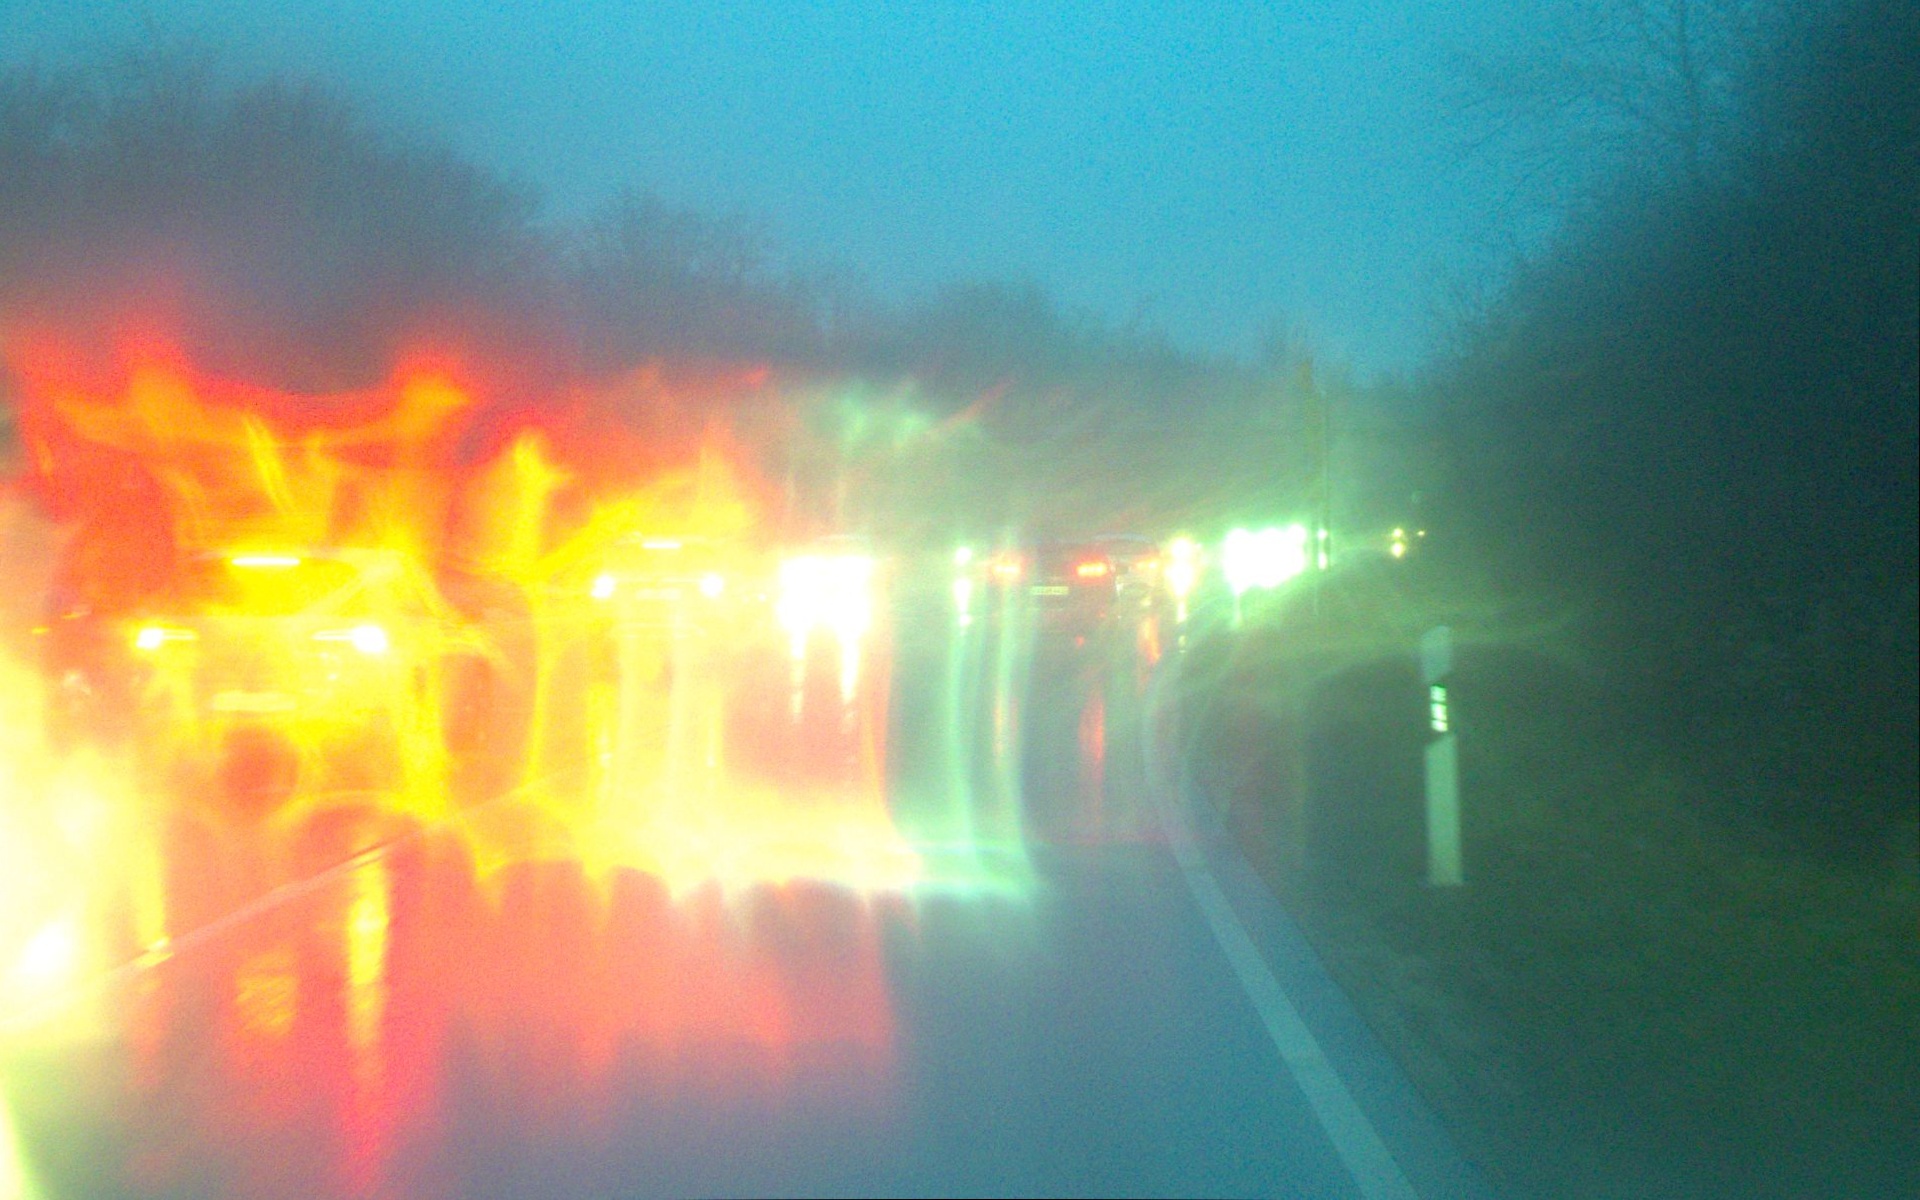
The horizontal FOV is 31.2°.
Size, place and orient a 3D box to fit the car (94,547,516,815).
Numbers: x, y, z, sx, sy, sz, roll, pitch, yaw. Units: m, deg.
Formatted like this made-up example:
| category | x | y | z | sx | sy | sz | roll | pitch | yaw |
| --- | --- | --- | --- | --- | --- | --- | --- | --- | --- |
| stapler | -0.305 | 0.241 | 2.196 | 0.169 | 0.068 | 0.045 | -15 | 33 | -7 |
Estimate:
| category | x | y | z | sx | sy | sz | roll | pitch | yaw |
| --- | --- | --- | --- | --- | --- | --- | --- | --- | --- |
| car | -4.233 | 0.454 | 22.949 | 2.005 | 1.550 | 4.517 | -2 | 1 | -1 |

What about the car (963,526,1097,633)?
| category | x | y | z | sx | sy | sz | roll | pitch | yaw |
| --- | --- | --- | --- | --- | --- | --- | --- | --- | --- |
| car | 0.993 | -0.312 | 46.868 | 1.679 | 1.385 | 4.098 | 0 | 1 | 3 |

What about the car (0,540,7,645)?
| category | x | y | z | sx | sy | sz | roll | pitch | yaw |
| --- | --- | --- | --- | --- | --- | --- | --- | --- | --- |
| car | -18.442 | -0.228 | 56.695 | 4.796 | 1.750 | 1.957 | 2 | 1 | -37 |

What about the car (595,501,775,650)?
| category | x | y | z | sx | sy | sz | roll | pitch | yaw |
| --- | --- | --- | --- | --- | --- | --- | --- | --- | --- |
| car | -3.176 | -0.314 | 40.401 | 1.713 | 1.621 | 4.218 | 1 | 1 | 0 |

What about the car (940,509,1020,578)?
| category | x | y | z | sx | sy | sz | roll | pitch | yaw |
| --- | --- | --- | --- | --- | --- | --- | --- | --- | --- |
| car | 0.614 | -1.703 | 102.852 | 1.838 | 1.963 | 4.357 | 2 | 1 | 7 |

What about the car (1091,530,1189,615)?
| category | x | y | z | sx | sy | sz | roll | pitch | yaw |
| --- | --- | --- | --- | --- | --- | --- | --- | --- | --- |
| car | 3.703 | -0.595 | 70.242 | 1.679 | 1.669 | 4.097 | 0 | 1 | 8 |

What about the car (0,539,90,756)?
| category | x | y | z | sx | sy | sz | roll | pitch | yaw |
| --- | --- | --- | --- | --- | --- | --- | --- | --- | --- |
| car | -7.672 | 0.327 | 24.822 | 1.645 | 1.551 | 4.381 | 1 | 1 | 0 |

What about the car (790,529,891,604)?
| category | x | y | z | sx | sy | sz | roll | pitch | yaw |
| --- | --- | --- | --- | --- | --- | --- | --- | --- | --- |
| car | -2.687 | -0.784 | 78.218 | 1.823 | 1.611 | 4.573 | 1 | 1 | 4 |
